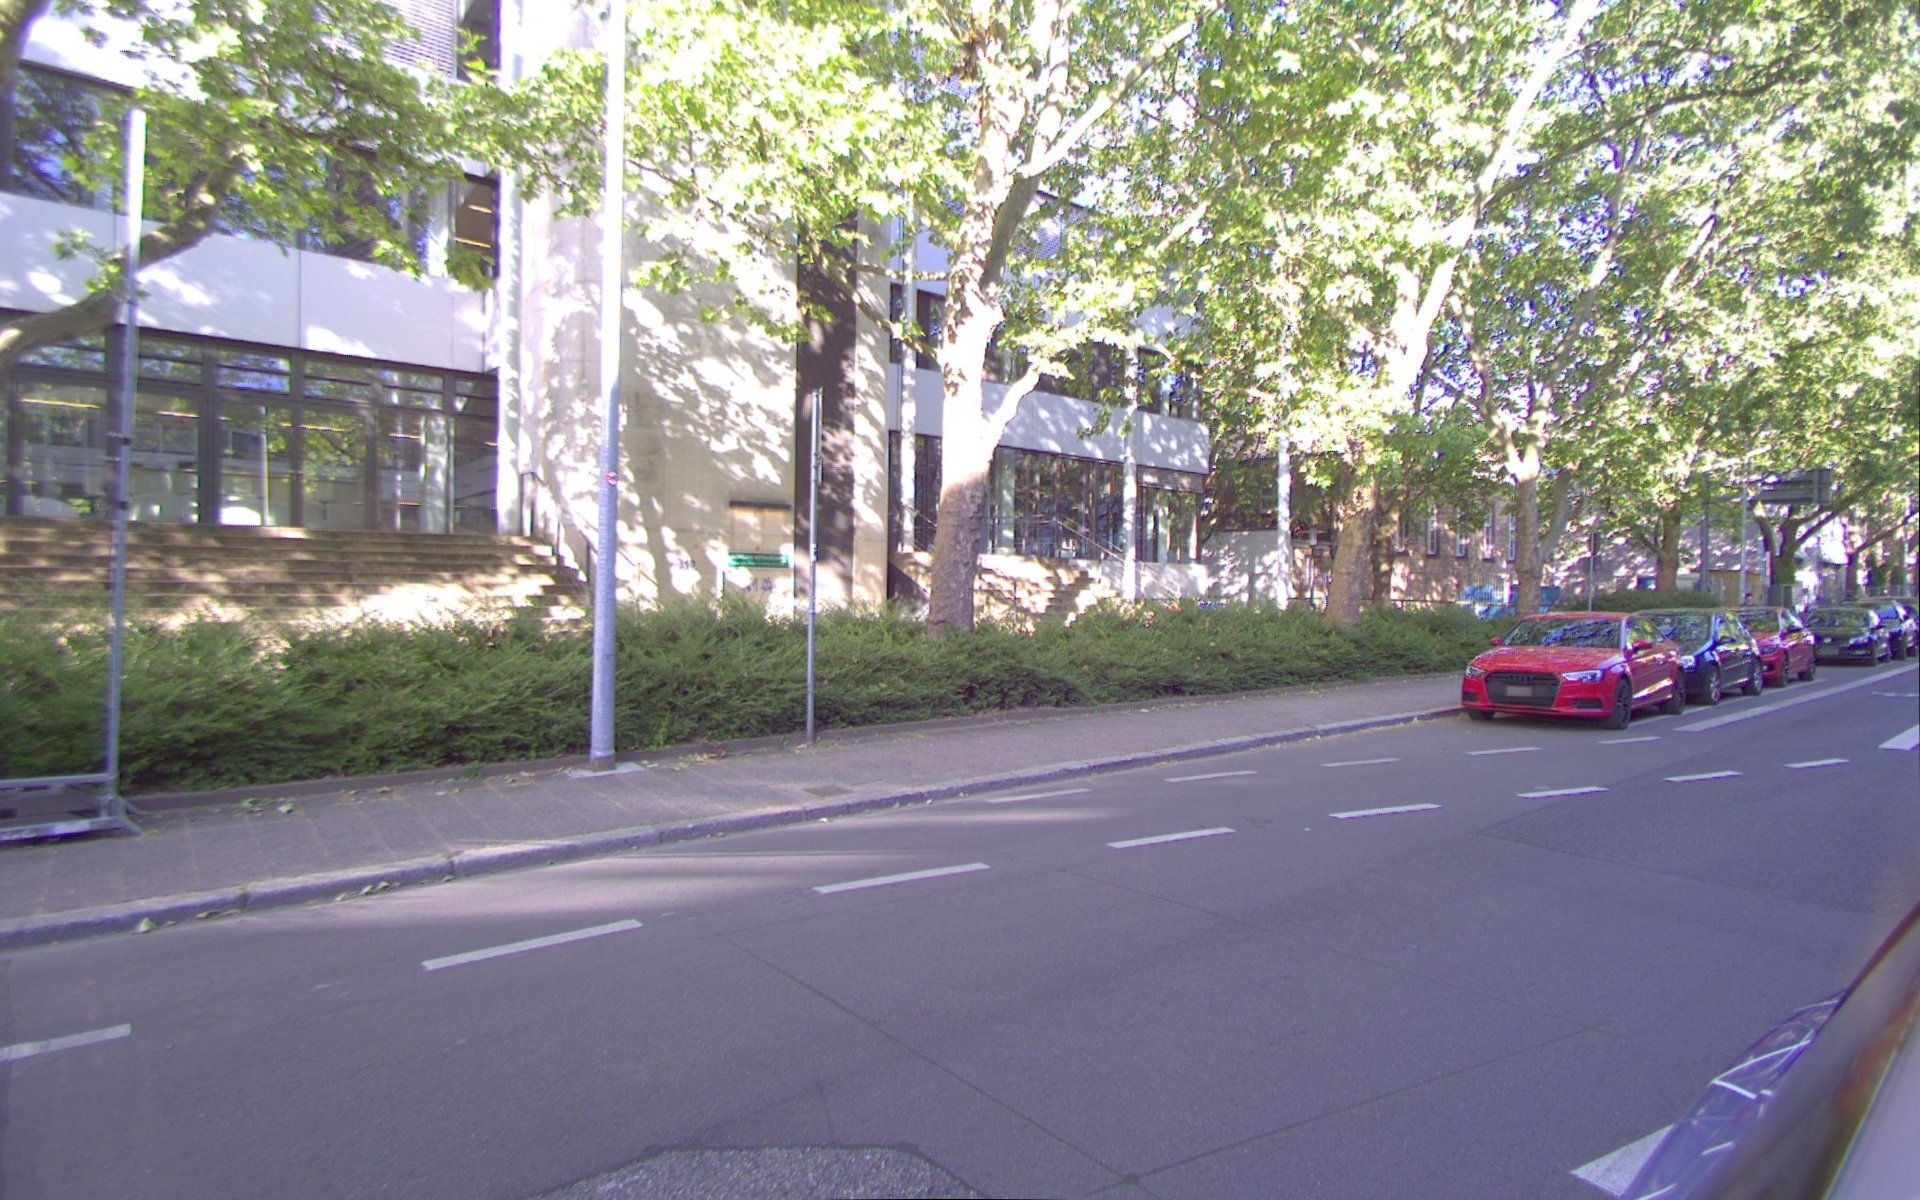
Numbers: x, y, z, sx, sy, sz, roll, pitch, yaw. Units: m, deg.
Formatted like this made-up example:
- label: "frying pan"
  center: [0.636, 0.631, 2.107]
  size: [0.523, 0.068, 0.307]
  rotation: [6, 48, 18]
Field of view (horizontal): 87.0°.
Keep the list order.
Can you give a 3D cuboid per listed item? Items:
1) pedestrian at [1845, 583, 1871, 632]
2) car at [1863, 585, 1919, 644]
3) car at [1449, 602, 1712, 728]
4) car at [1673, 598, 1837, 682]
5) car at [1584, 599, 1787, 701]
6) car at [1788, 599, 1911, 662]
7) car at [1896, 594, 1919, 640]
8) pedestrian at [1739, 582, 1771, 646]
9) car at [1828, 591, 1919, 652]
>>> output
- label: "pedestrian"
  center: [34.676, 0.293, 39.092]
  size: [0.629, 1.884, 0.660]
  rotation: [0, 0, -41]
- label: "car"
  center: [31.047, 0.445, 32.973]
  size: [4.383, 1.820, 1.834]
  rotation: [0, 0, -40]
- label: "car"
  center: [8.405, 0.741, 13.567]
  size: [4.173, 1.422, 1.834]
  rotation: [0, 0, -41]
- label: "car"
  center: [15.840, 0.714, 20.098]
  size: [4.095, 1.486, 1.834]
  rotation: [0, 0, -41]
- label: "car"
  center: [12.024, 0.723, 16.683]
  size: [4.095, 1.464, 1.834]
  rotation: [0, 0, -41]
- label: "car"
  center: [22.872, 0.708, 25.989]
  size: [4.095, 1.486, 1.834]
  rotation: [0, 0, -41]
- label: "car"
  center: [35.910, 0.588, 37.098]
  size: [4.183, 1.634, 1.834]
  rotation: [0, 0, -40]
- label: "pedestrian"
  center: [22.774, 0.389, 28.987]
  size: [0.583, 1.818, 0.600]
  rotation: [0, 0, -41]
- label: "car"
  center: [26.561, 0.579, 29.084]
  size: [4.088, 1.626, 1.834]
  rotation: [0, 0, -40]
